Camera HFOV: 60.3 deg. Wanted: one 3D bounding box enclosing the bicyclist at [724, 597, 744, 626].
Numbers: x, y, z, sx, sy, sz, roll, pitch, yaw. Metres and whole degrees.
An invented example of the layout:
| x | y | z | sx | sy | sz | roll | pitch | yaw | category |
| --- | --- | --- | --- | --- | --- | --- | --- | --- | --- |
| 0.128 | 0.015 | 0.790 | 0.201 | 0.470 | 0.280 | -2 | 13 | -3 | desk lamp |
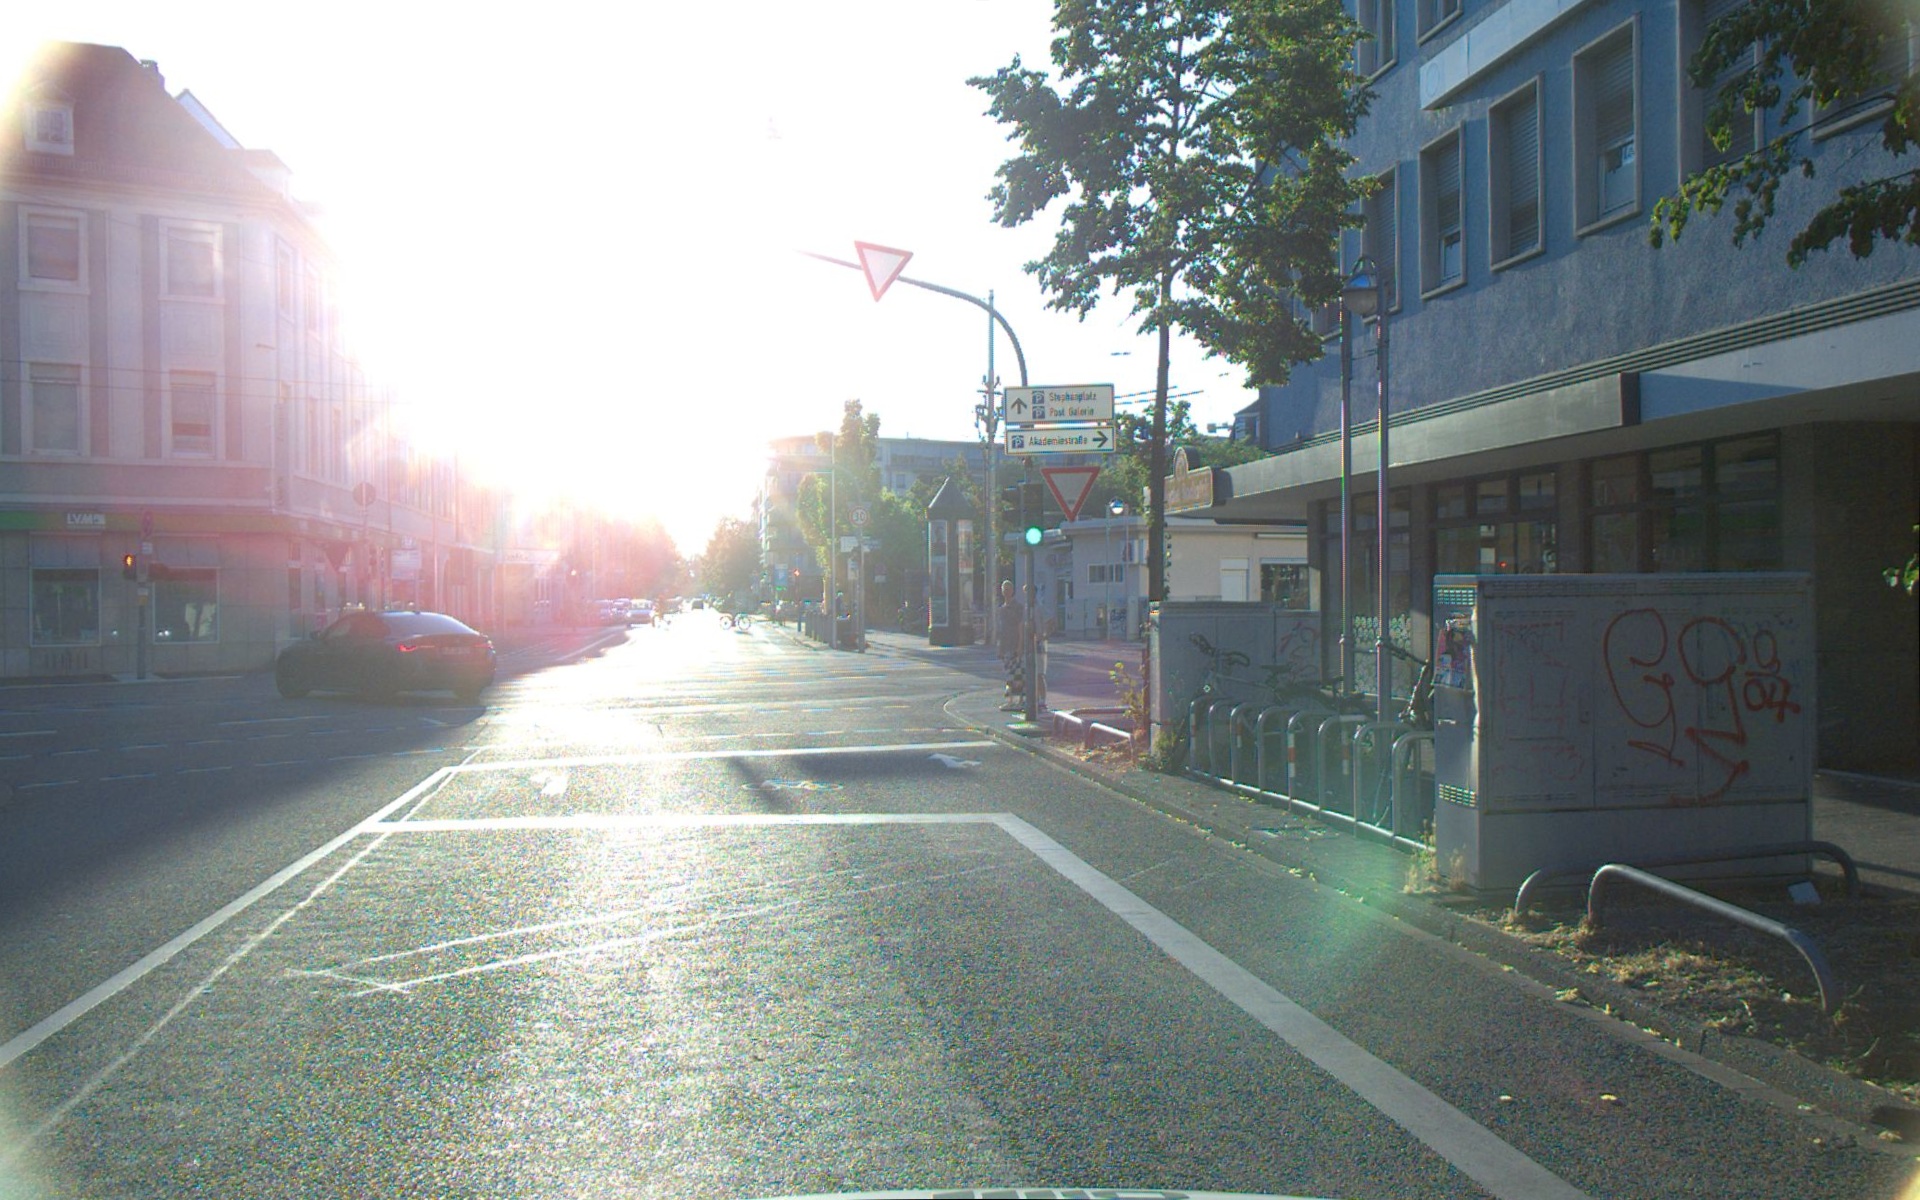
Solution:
| x | y | z | sx | sy | sz | roll | pitch | yaw | category |
| --- | --- | --- | --- | --- | --- | --- | --- | --- | --- |
| -11.646 | 0.589 | 85.223 | 0.880 | 1.507 | 0.735 | 1 | -1 | 3 | bicyclist |

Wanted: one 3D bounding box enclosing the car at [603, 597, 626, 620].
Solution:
| x | y | z | sx | sy | sz | roll | pitch | yaw | category |
| --- | --- | --- | --- | --- | --- | --- | --- | --- | --- |
| -24.441 | 0.624 | 117.013 | 1.456 | 1.586 | 3.251 | 0 | -1 | -10 | car |

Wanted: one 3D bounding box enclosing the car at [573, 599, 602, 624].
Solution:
| x | y | z | sx | sy | sz | roll | pitch | yaw | category |
| --- | --- | --- | --- | --- | --- | --- | --- | --- | --- |
| -22.433 | 0.686 | 99.668 | 1.517 | 1.495 | 3.344 | 0 | -1 | -10 | car |

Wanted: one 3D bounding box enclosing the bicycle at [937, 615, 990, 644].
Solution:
| x | y | z | sx | sy | sz | roll | pitch | yaw | category |
| --- | --- | --- | --- | --- | --- | --- | --- | --- | --- |
| 0.130 | 1.100 | 61.539 | 1.979 | 1.062 | 0.560 | -1 | -1 | -1 | bicycle |

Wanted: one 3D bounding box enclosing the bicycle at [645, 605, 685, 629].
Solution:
| x | y | z | sx | sy | sz | roll | pitch | yaw | category |
| --- | --- | --- | --- | --- | --- | --- | --- | --- | --- |
| -15.853 | 0.911 | 89.011 | 2.072 | 1.225 | 0.500 | 1 | -1 | 13 | bicycle |

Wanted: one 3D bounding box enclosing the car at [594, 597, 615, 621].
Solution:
| x | y | z | sx | sy | sz | roll | pitch | yaw | category |
| --- | --- | --- | --- | --- | --- | --- | --- | --- | --- |
| -23.892 | 0.623 | 111.247 | 1.283 | 1.610 | 2.882 | 0 | -1 | -10 | car |

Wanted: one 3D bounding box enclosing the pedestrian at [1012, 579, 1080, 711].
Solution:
| x | y | z | sx | sy | sz | roll | pitch | yaw | category |
| --- | --- | --- | --- | --- | --- | --- | --- | --- | --- |
| 1.194 | 0.617 | 23.111 | 0.630 | 1.804 | 0.742 | -1 | 0 | -30 | pedestrian |

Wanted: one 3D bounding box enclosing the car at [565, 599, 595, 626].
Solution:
| x | y | z | sx | sy | sz | roll | pitch | yaw | category |
| --- | --- | --- | --- | --- | --- | --- | --- | --- | --- |
| -22.053 | 0.691 | 96.046 | 1.517 | 1.509 | 3.344 | -1 | 0 | -10 | car |

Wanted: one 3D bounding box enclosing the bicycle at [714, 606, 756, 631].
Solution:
| x | y | z | sx | sy | sz | roll | pitch | yaw | category |
| --- | --- | --- | --- | --- | --- | --- | --- | --- | --- |
| -11.586 | 0.952 | 85.215 | 2.073 | 1.225 | 0.500 | 1 | -1 | 2 | bicycle |

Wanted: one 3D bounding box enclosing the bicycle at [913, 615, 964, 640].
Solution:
| x | y | z | sx | sy | sz | roll | pitch | yaw | category |
| --- | --- | --- | --- | --- | --- | --- | --- | --- | --- |
| -0.877 | 1.123 | 67.243 | 2.035 | 0.999 | 0.560 | -1 | -1 | -1 | bicycle |

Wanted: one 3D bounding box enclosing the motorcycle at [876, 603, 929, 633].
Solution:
| x | y | z | sx | sy | sz | roll | pitch | yaw | category |
| --- | --- | --- | --- | --- | --- | --- | --- | --- | --- |
| -2.450 | 0.754 | 70.285 | 2.190 | 1.222 | 0.719 | -1 | 0 | -4 | motorcycle |

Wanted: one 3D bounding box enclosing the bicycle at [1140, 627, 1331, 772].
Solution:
| x | y | z | sx | sy | sz | roll | pitch | yaw | category |
| --- | --- | --- | --- | --- | --- | --- | --- | --- | --- |
| 2.436 | 0.860 | 14.631 | 1.629 | 1.215 | 0.475 | 0 | 0 | -15 | bicycle |

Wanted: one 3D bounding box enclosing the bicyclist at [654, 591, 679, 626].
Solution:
| x | y | z | sx | sy | sz | roll | pitch | yaw | category |
| --- | --- | --- | --- | --- | --- | --- | --- | --- | --- |
| -15.791 | 0.454 | 89.042 | 1.105 | 1.822 | 0.765 | 1 | -1 | 13 | bicyclist |

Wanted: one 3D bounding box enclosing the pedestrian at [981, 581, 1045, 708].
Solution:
| x | y | z | sx | sy | sz | roll | pitch | yaw | category |
| --- | --- | --- | --- | --- | --- | --- | --- | --- | --- |
| 0.768 | 0.633 | 23.985 | 0.581 | 1.804 | 0.739 | 0 | 0 | -40 | pedestrian |

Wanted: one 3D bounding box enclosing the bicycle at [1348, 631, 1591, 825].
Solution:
| x | y | z | sx | sy | sz | roll | pitch | yaw | category |
| --- | --- | --- | --- | --- | --- | --- | --- | --- | --- |
| 3.451 | 0.830 | 11.172 | 1.633 | 1.215 | 0.490 | 0 | 0 | -22 | bicycle |

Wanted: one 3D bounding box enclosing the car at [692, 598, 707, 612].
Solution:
| x | y | z | sx | sy | sz | roll | pitch | yaw | category |
| --- | --- | --- | --- | --- | --- | --- | --- | --- | --- |
| -37.609 | 0.735 | 238.486 | 1.956 | 1.848 | 3.993 | 1 | -1 | -7 | car |

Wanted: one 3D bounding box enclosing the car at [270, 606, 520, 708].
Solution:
| x | y | z | sx | sy | sz | roll | pitch | yaw | category |
| --- | --- | --- | --- | --- | --- | --- | --- | --- | --- |
| -9.303 | 0.885 | 27.066 | 4.460 | 1.506 | 1.886 | 0 | -1 | 41 | car |

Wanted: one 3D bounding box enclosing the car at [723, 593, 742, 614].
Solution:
| x | y | z | sx | sy | sz | roll | pitch | yaw | category |
| --- | --- | --- | --- | --- | --- | --- | --- | --- | --- |
| -23.897 | 0.378 | 173.904 | 1.956 | 2.049 | 3.993 | 1 | -1 | -8 | car |

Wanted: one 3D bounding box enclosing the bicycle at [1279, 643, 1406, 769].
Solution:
| x | y | z | sx | sy | sz | roll | pitch | yaw | category |
| --- | --- | --- | --- | --- | --- | --- | --- | --- | --- |
| 3.514 | 0.951 | 15.332 | 0.396 | 1.028 | 1.664 | -2 | 1 | -14 | bicycle |

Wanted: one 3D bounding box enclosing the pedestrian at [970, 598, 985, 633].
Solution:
| x | y | z | sx | sy | sz | roll | pitch | yaw | category |
| --- | --- | --- | --- | --- | --- | --- | --- | --- | --- |
| 0.855 | 0.759 | 81.050 | 0.667 | 1.686 | 0.695 | 1 | -1 | -1 | pedestrian |

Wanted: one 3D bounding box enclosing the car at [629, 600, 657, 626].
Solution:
| x | y | z | sx | sy | sz | roll | pitch | yaw | category |
| --- | --- | --- | --- | --- | --- | --- | --- | --- | --- |
| -18.405 | 0.755 | 96.045 | 1.517 | 1.493 | 3.344 | 0 | -1 | -10 | car |

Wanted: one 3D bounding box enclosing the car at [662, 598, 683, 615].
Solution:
| x | y | z | sx | sy | sz | roll | pitch | yaw | category |
| --- | --- | --- | --- | --- | --- | --- | --- | --- | --- |
| -31.037 | 0.698 | 178.557 | 1.956 | 1.713 | 3.994 | -1 | 0 | -7 | car |

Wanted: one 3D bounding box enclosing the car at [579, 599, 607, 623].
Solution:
| x | y | z | sx | sy | sz | roll | pitch | yaw | category |
| --- | --- | --- | --- | --- | --- | --- | --- | --- | --- |
| -23.195 | 0.697 | 104.580 | 1.517 | 1.495 | 3.344 | 0 | -1 | -10 | car |

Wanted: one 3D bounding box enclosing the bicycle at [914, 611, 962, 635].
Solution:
| x | y | z | sx | sy | sz | roll | pitch | yaw | category |
| --- | --- | --- | --- | --- | --- | --- | --- | --- | --- |
| -0.907 | 0.952 | 68.757 | 1.997 | 0.994 | 0.560 | -1 | -1 | -1 | bicycle |
